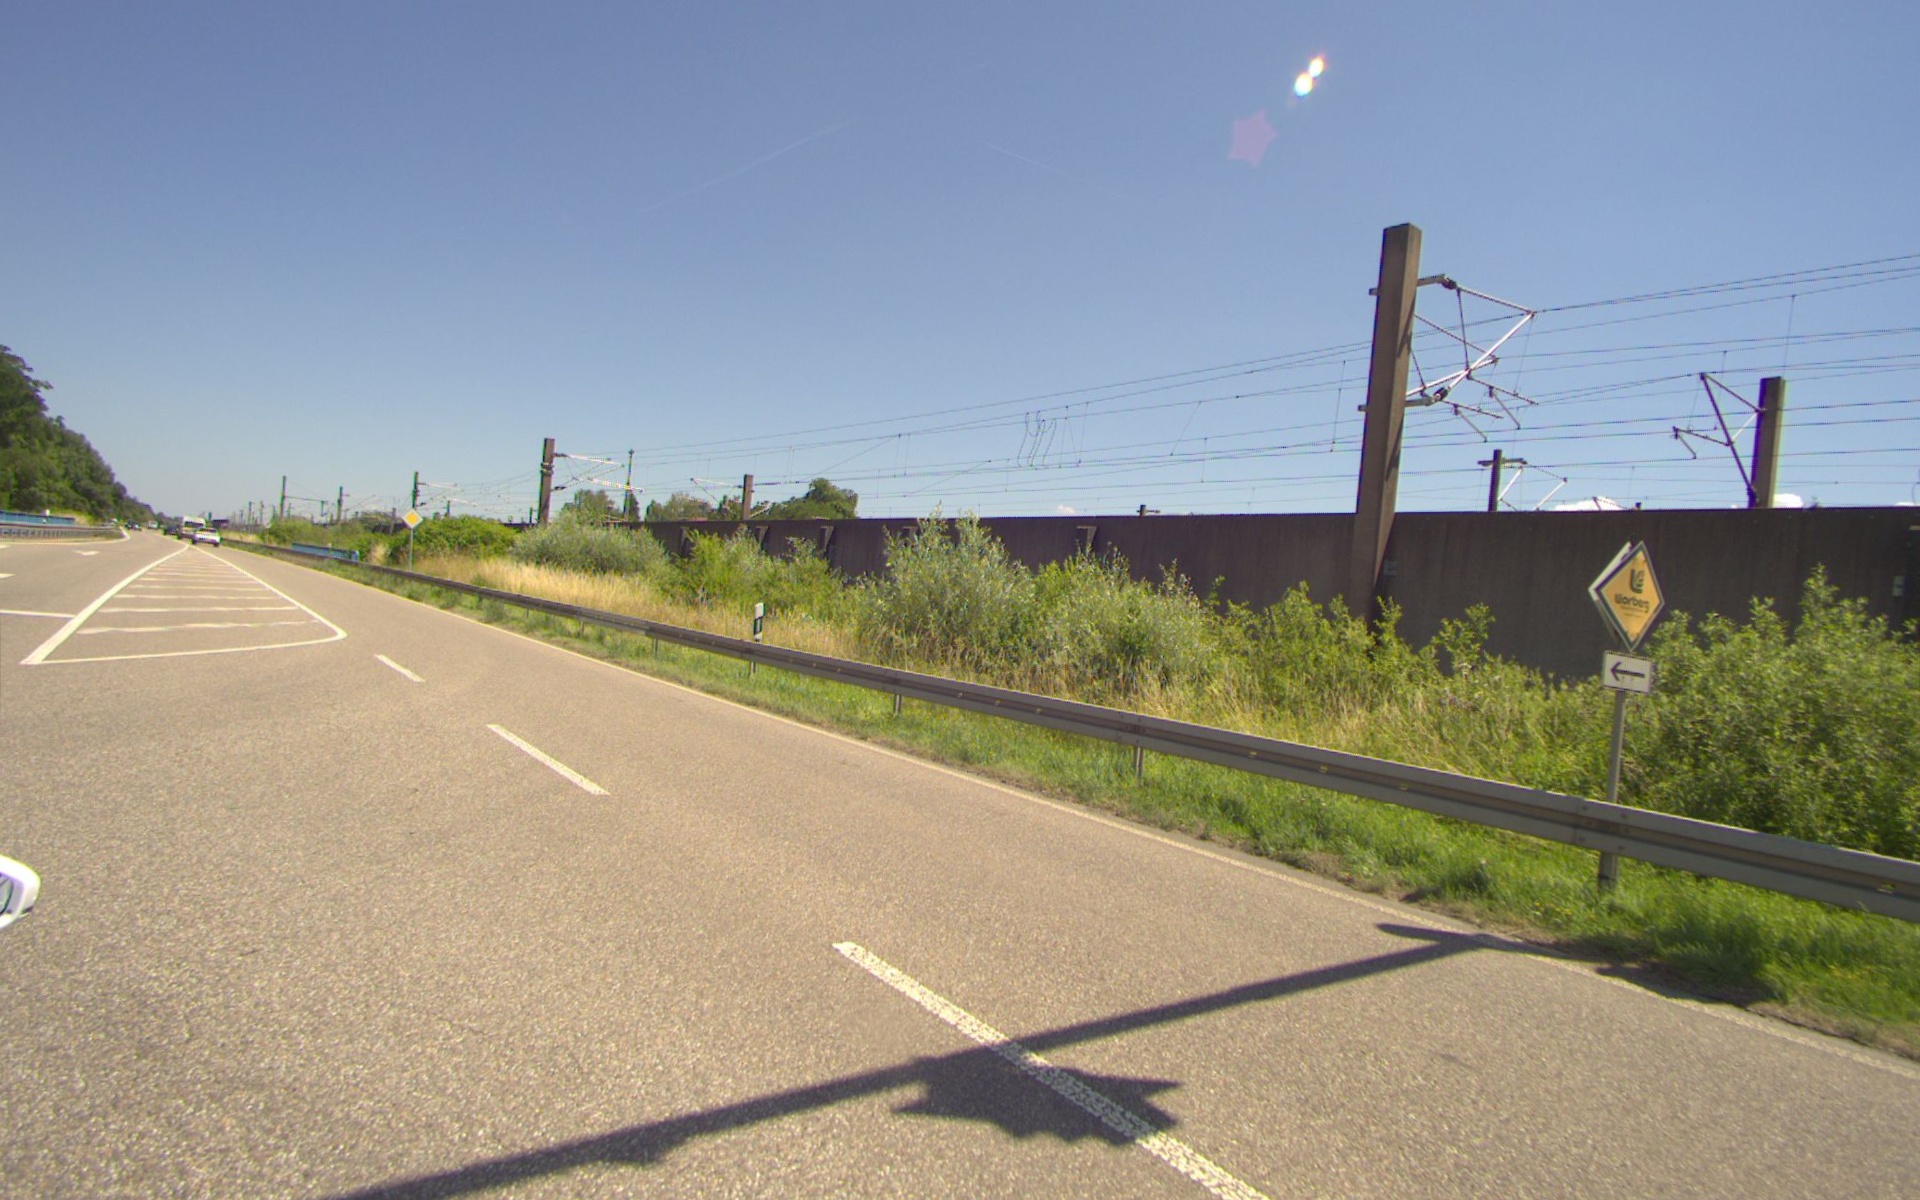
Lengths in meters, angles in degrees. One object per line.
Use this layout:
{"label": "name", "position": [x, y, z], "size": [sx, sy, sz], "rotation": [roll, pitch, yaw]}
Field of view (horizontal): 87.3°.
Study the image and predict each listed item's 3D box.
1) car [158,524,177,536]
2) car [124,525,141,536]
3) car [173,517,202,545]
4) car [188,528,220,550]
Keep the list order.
{"label": "car", "position": [-110.443, -9.801, 140.188], "size": [1.849, 1.396, 4.454], "rotation": [8, -1, -39]}
{"label": "car", "position": [-127.471, -10.738, 154.977], "size": [1.849, 1.396, 4.454], "rotation": [8, -1, -39]}
{"label": "car", "position": [-84.326, -7.507, 109.782], "size": [2.178, 2.635, 6.679], "rotation": [8, -1, -38]}
{"label": "car", "position": [-64.757, -5.235, 86.129], "size": [1.810, 1.582, 4.230], "rotation": [7, -1, -40]}
